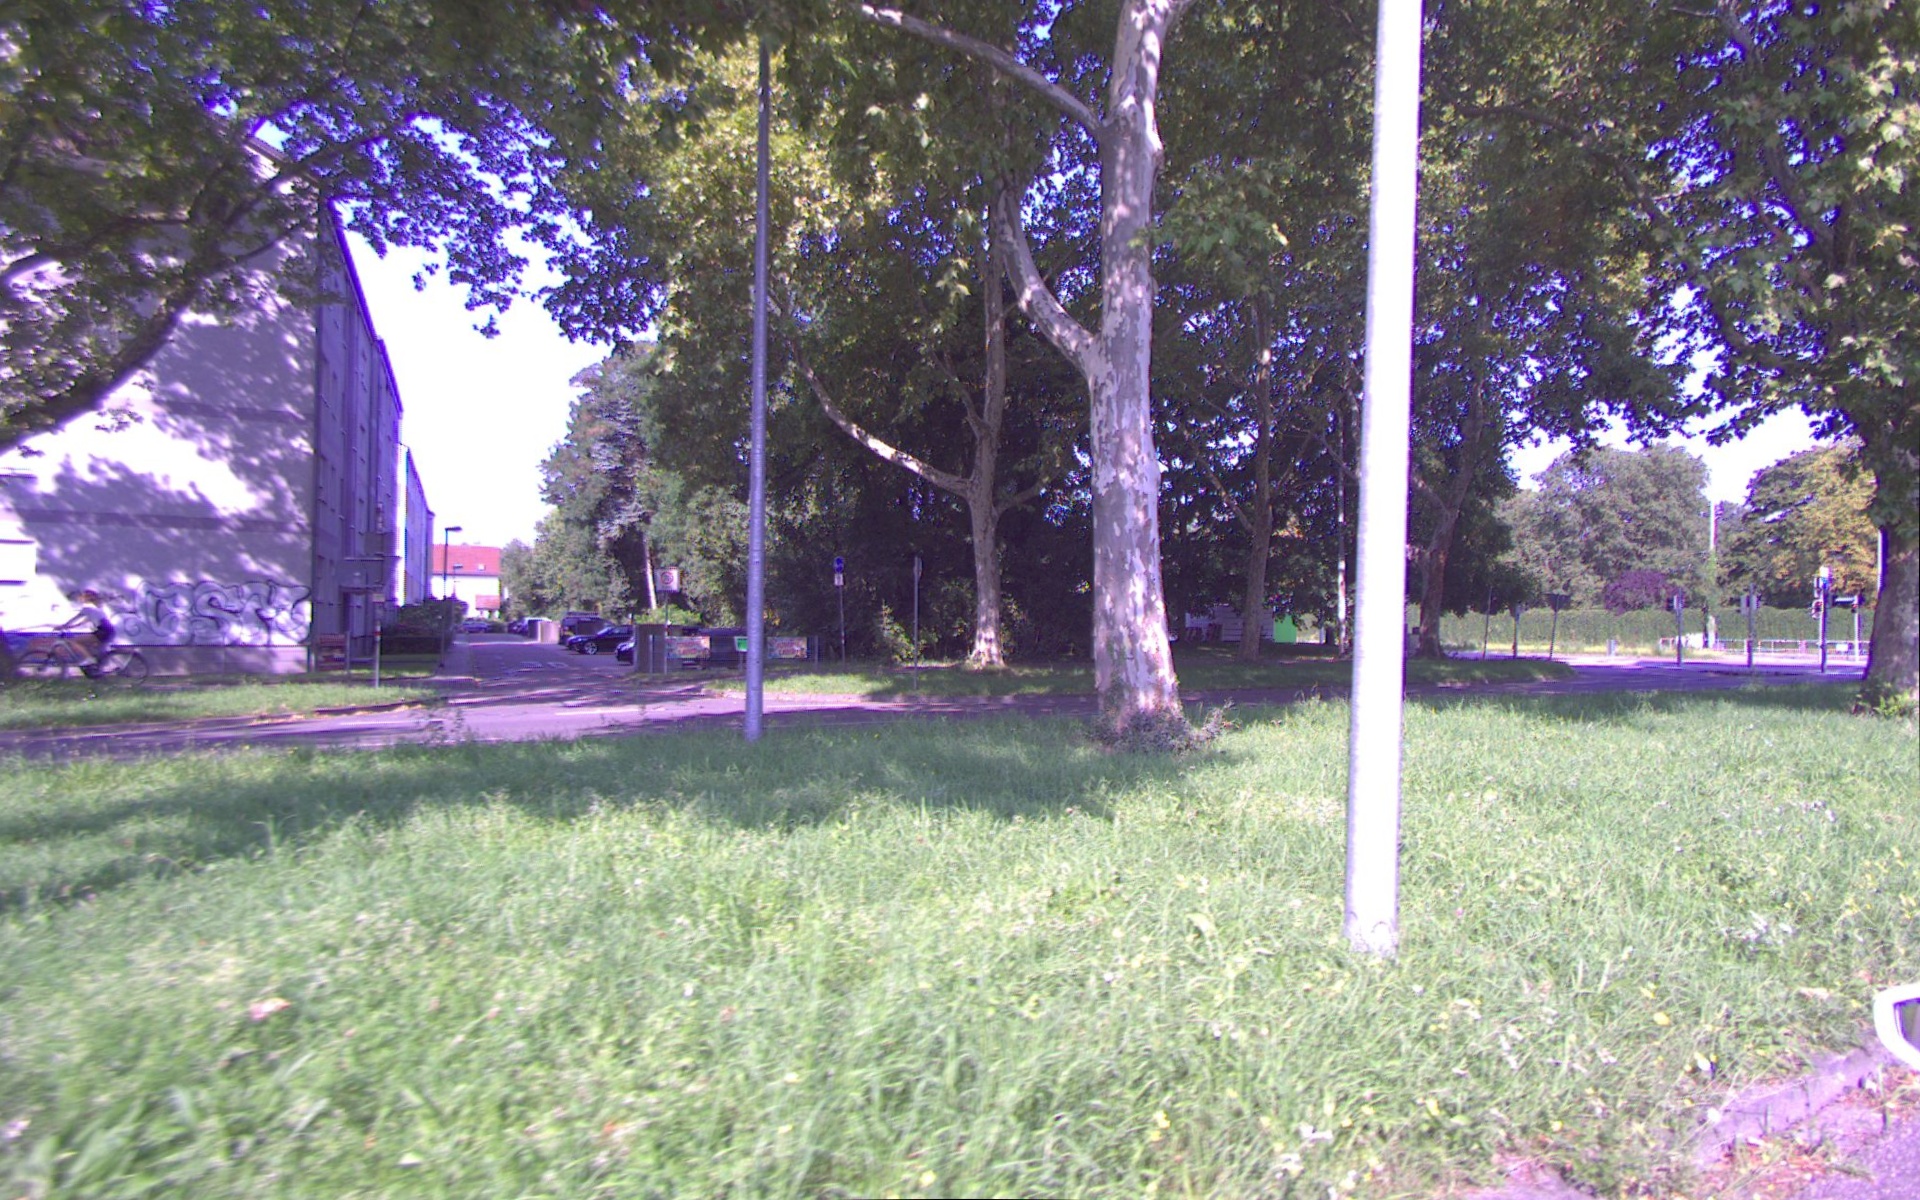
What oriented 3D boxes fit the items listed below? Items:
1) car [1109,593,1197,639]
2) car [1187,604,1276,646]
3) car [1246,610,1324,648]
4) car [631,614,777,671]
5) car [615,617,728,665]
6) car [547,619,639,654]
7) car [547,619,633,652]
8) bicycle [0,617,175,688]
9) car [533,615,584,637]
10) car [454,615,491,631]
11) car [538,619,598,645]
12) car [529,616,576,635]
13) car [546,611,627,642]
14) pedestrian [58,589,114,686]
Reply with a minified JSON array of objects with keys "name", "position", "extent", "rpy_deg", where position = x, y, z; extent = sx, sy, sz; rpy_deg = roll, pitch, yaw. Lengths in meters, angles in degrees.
[{"name":"car","position":[10.782,0.910,56.010],"extent":[4.663,2.472,2.165],"rpy_deg":[1,-1,-35]},{"name":"car","position":[14.680,1.335,54.172],"extent":[4.663,2.165,2.165],"rpy_deg":[1,-1,-35]},{"name":"car","position":[20.390,1.841,62.925],"extent":[5.071,2.293,2.017],"rpy_deg":[2,-1,-35]},{"name":"car","position":[-8.288,1.357,32.567],"extent":[4.328,1.749,1.692],"rpy_deg":[2,-1,-25]},{"name":"car","position":[-11.069,1.556,38.496],"extent":[3.945,1.749,1.692],"rpy_deg":[2,-1,-25]},{"name":"car","position":[-17.378,1.721,47.585],"extent":[3.945,1.588,1.692],"rpy_deg":[2,-1,-25]},{"name":"car","position":[-18.701,1.774,50.783],"extent":[3.945,1.588,1.692],"rpy_deg":[2,-1,-25]},{"name":"bicycle","position":[-15.870,0.930,18.041],"extent":[2.732,1.215,0.541],"rpy_deg":[2,-1,-34]},{"name":"car","position":[-34.906,2.234,87.404],"extent":[3.950,1.744,1.687],"rpy_deg":[3,-2,-27]},{"name":"car","position":[-59.506,2.827,122.554],"extent":[3.953,1.795,1.788],"rpy_deg":[2,-1,-30]},{"name":"car","position":[-28.910,2.328,74.037],"extent":[3.950,1.744,1.687],"rpy_deg":[3,-2,-27]},{"name":"car","position":[-38.210,2.428,94.092],"extent":[3.949,1.745,1.687],"rpy_deg":[1,-1,-27]},{"name":"car","position":[-20.080,1.445,53.990],"extent":[3.945,1.588,1.692],"rpy_deg":[2,-1,-25]},{"name":"pedestrian","position":[-15.755,0.669,18.111],"extent":[0.651,1.713,0.539],"rpy_deg":[1,-1,-33]}]
